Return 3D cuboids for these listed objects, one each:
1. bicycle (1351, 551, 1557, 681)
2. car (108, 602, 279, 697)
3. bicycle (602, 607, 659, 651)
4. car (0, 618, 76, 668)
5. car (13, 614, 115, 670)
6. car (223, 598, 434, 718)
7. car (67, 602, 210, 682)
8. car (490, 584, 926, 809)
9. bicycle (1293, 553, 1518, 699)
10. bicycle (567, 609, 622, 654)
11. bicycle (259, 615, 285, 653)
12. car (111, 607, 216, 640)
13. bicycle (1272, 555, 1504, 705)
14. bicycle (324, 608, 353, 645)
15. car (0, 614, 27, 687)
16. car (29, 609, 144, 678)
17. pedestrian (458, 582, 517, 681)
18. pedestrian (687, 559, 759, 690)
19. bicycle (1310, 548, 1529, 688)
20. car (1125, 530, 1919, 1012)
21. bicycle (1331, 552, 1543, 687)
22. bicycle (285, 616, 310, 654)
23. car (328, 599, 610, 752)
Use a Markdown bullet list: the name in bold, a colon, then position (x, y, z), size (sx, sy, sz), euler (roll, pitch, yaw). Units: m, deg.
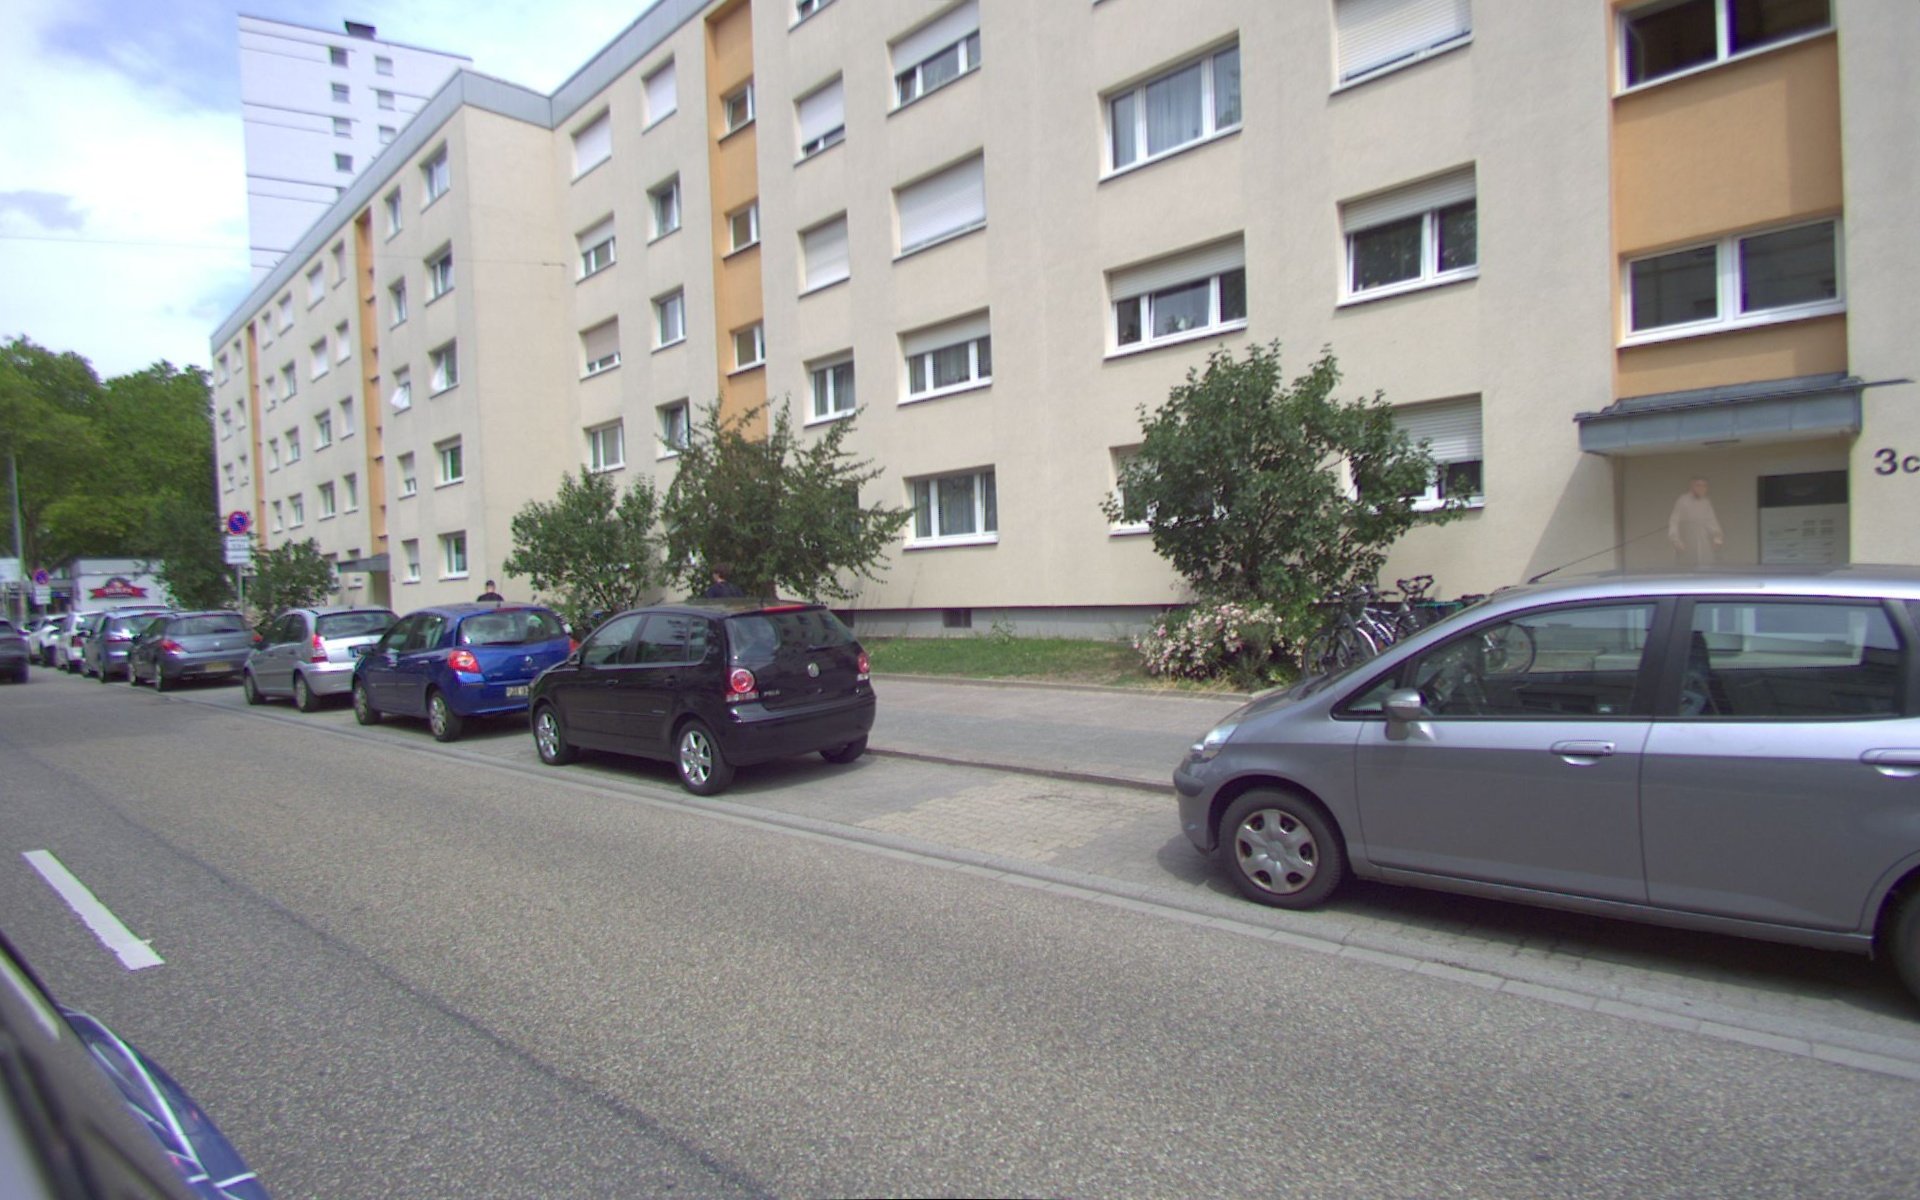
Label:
- **bicycle**: position (5.870, 0.206, 12.146), size (2.130, 1.436, 0.457), euler (-3, 0, 44)
- **car**: position (-15.672, 0.951, 20.616), size (4.300, 1.624, 1.922), euler (-2, 2, 42)
- **bicycle**: position (-7.751, 0.677, 23.762), size (1.673, 0.993, 0.435), euler (-2, 2, 41)
- **car**: position (-31.710, 1.439, 34.669), size (3.989, 1.483, 1.690), euler (-1, 2, 43)
- **car**: position (-27.522, 1.268, 31.058), size (3.985, 1.483, 1.692), euler (-2, 2, 40)
- **car**: position (-9.985, 0.840, 15.911), size (3.848, 1.573, 1.653), euler (-2, 2, 40)
- **car**: position (-19.736, 0.949, 24.230), size (4.861, 1.624, 1.922), euler (-1, 2, 43)
- **car**: position (-2.428, 0.705, 9.124), size (4.116, 1.494, 1.799), euler (-2, 2, 43)
- **bicycle**: position (4.701, 0.285, 10.826), size (2.130, 1.423, 0.457), euler (-3, 0, 44)
- **bicycle**: position (-8.420, 0.716, 23.276), size (1.615, 0.993, 0.435), euler (-2, 2, 41)
- **bicycle**: position (-23.804, 1.175, 34.993), size (0.571, 1.260, 1.937), euler (-3, 0, -38)
- **car**: position (-45.460, 1.340, 57.831), size (4.576, 1.699, 1.851), euler (-1, -1, -43)
- **bicycle**: position (4.340, 0.313, 10.424), size (0.457, 1.404, 2.131), euler (-3, 0, -45)
- **bicycle**: position (-22.272, 0.953, 36.278), size (0.549, 1.260, 1.920), euler (-3, 0, -41)
- **car**: position (-23.037, 1.162, 23.267), size (4.433, 1.597, 1.799), euler (-2, 0, 40)
- **car**: position (-23.789, 1.151, 27.506), size (4.474, 1.624, 1.680), euler (-2, 2, 41)
- **pedestrian**: position (-8.975, 0.587, 19.216), size (0.898, 1.826, 0.613), euler (-2, 2, 39)
- **pedestrian**: position (-3.428, 0.346, 14.659), size (0.803, 1.826, 0.613), euler (-2, 0, 39)
- **bicycle**: position (5.055, 0.209, 11.266), size (2.130, 1.436, 0.457), euler (-3, 0, 44)
- **car**: position (2.937, 0.556, 4.474), size (4.001, 1.551, 1.705), euler (-3, 0, 40)
- **bicycle**: position (5.455, 0.238, 11.697), size (2.130, 1.436, 0.457), euler (-3, 0, 44)
- **bicycle**: position (-23.204, 1.226, 35.436), size (0.529, 1.260, 2.049), euler (-3, 0, -38)
- **car**: position (-6.153, 0.821, 12.489), size (3.885, 1.494, 1.798), euler (-1, 2, 43)
